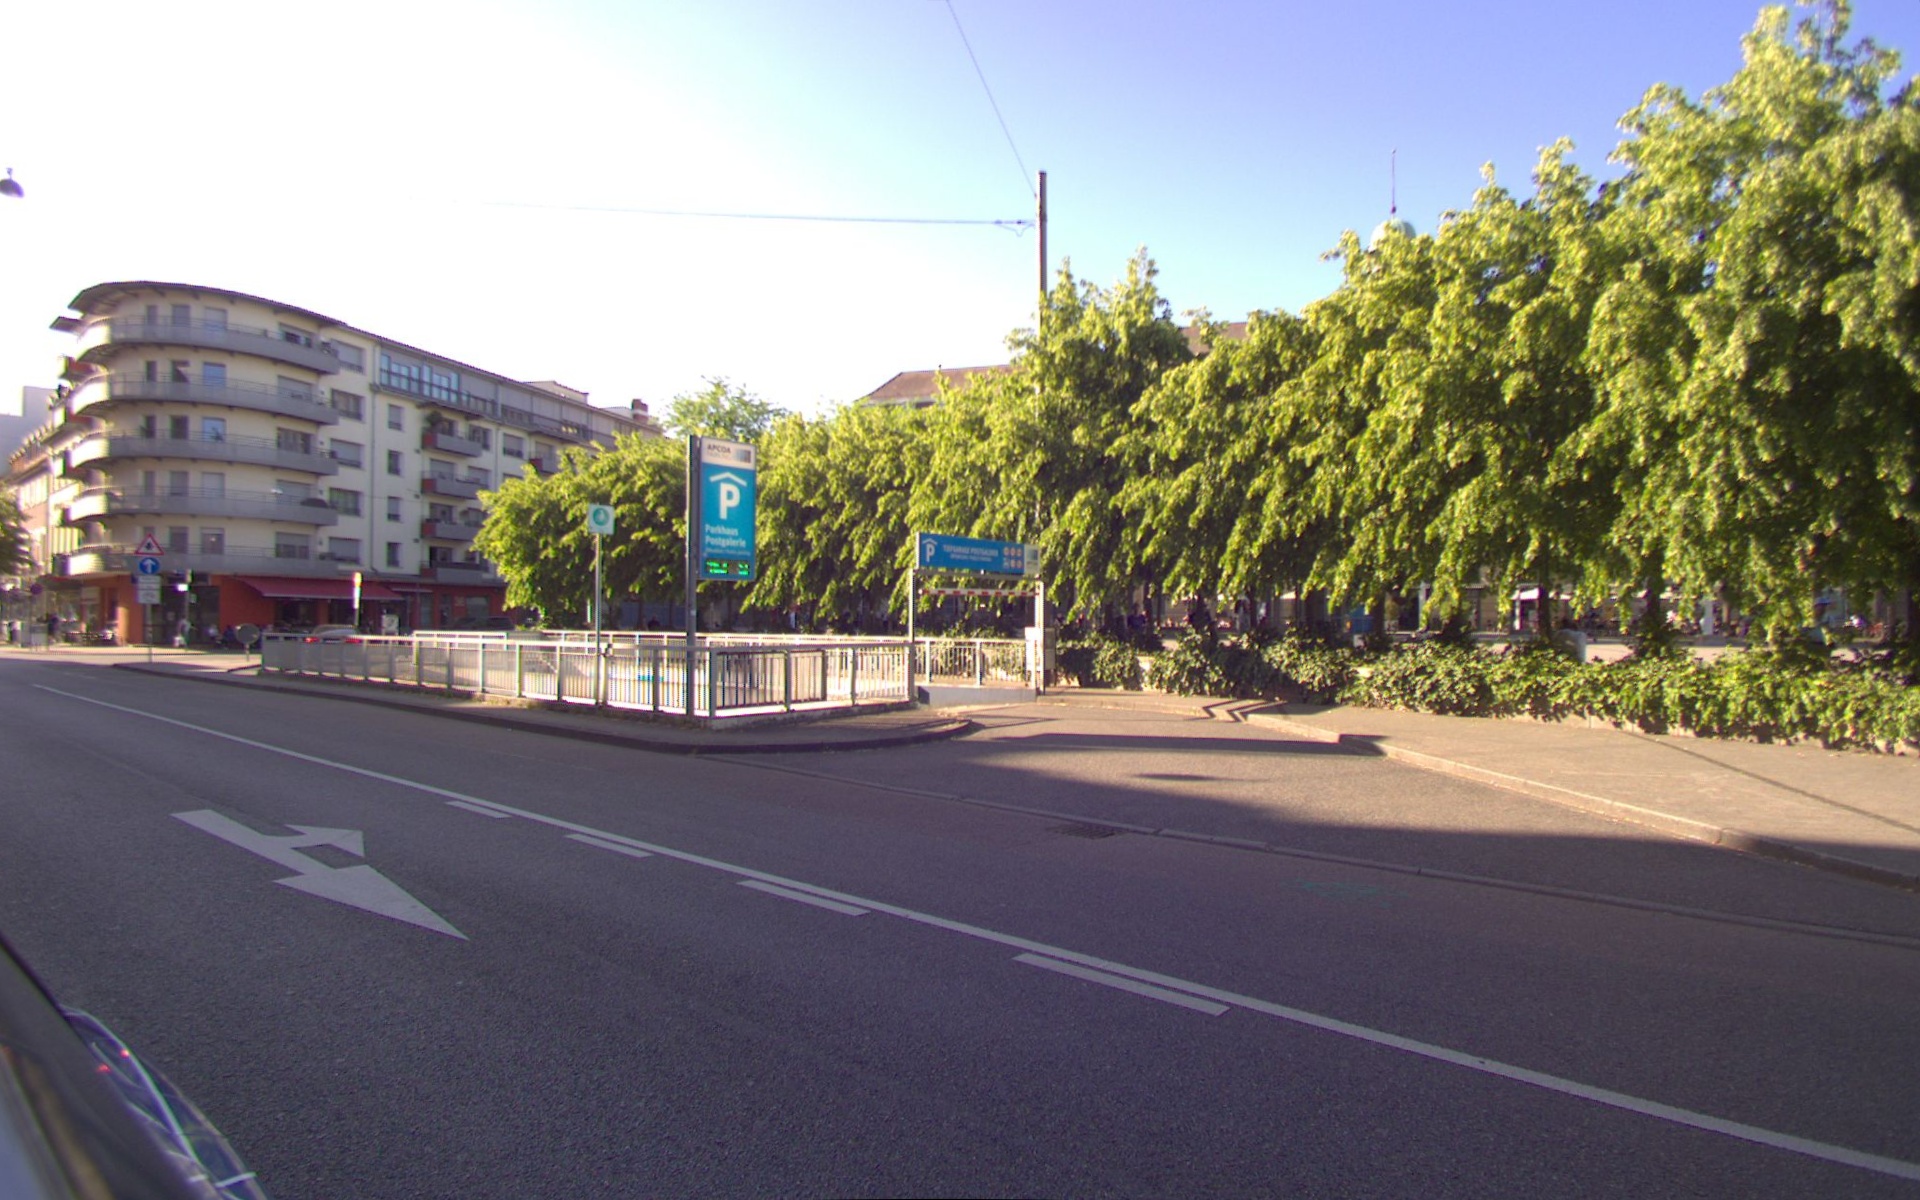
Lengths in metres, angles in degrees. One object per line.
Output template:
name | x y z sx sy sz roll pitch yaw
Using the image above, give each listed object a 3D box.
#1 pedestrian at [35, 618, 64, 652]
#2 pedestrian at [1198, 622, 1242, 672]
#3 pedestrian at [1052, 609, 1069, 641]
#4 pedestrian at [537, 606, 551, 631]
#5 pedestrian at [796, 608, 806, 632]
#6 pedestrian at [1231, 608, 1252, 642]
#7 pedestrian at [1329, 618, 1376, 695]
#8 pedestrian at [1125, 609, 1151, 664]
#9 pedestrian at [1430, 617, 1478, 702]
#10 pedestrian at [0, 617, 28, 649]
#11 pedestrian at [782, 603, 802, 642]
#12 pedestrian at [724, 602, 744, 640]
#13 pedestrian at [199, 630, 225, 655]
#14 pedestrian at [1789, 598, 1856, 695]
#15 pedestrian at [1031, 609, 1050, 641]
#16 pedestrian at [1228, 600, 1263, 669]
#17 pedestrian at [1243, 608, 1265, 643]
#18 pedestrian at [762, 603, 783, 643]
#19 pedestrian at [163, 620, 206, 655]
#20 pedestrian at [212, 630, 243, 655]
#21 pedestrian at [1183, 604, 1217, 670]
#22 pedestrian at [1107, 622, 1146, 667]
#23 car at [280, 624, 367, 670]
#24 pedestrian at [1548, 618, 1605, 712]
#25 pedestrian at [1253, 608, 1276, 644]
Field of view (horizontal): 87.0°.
pedestrian | -49.061 1.879 54.550 0.962 1.762 1.047 -1 0 41
pedestrian | 5.748 1.029 22.388 0.682 1.079 0.686 -1 0 -13
pedestrian | 4.459 1.107 44.827 0.684 1.385 0.684 -1 0 1
pedestrian | -31.202 1.400 75.953 0.684 1.857 0.737 -1 0 41
pedestrian | -10.758 1.365 68.618 0.489 1.591 0.491 -1 0 16
pedestrian | 12.890 1.155 46.409 0.673 1.535 0.695 -1 0 -7
pedestrian | 7.512 1.063 19.355 0.622 1.409 0.644 -1 0 44
pedestrian | 4.562 0.933 25.888 0.545 1.385 0.680 -1 0 19
pedestrian | 8.739 1.028 17.909 0.621 1.447 0.645 -1 0 39
pedestrian | -51.759 1.792 55.278 1.079 1.732 1.056 -1 0 38
pedestrian | -8.257 1.102 49.784 0.681 1.857 0.741 -1 0 27
pedestrian | -11.253 1.057 50.489 0.679 1.857 0.743 -1 0 19
pedestrian | -37.652 2.141 50.949 0.882 1.207 0.772 -1 0 30
pedestrian | 13.956 0.737 16.389 0.691 1.532 0.677 -1 0 30
pedestrian | 3.564 1.119 44.864 0.752 1.385 0.684 -1 0 1
pedestrian | 6.680 0.801 23.691 0.518 1.594 0.685 -1 0 -8
pedestrian | 13.285 1.150 45.725 0.672 1.542 0.696 -1 0 -18
pedestrian | -9.076 1.103 48.933 0.681 1.877 0.741 -1 0 27
pedestrian | -38.135 1.835 49.810 1.253 1.678 1.141 -1 0 -4
pedestrian | -36.832 2.130 50.905 0.827 1.207 0.931 -1 0 16
pedestrian | 5.654 0.856 23.837 0.688 1.511 0.680 -1 0 19
pedestrian | 4.124 1.091 25.084 0.682 1.079 0.686 -1 0 -29
car | -22.942 1.700 36.414 4.250 1.542 1.653 -4 -2 44
pedestrian | 9.795 1.014 16.100 0.611 1.447 0.588 -1 0 14
pedestrian | 13.546 1.147 45.031 0.672 1.536 0.696 -1 0 -19
